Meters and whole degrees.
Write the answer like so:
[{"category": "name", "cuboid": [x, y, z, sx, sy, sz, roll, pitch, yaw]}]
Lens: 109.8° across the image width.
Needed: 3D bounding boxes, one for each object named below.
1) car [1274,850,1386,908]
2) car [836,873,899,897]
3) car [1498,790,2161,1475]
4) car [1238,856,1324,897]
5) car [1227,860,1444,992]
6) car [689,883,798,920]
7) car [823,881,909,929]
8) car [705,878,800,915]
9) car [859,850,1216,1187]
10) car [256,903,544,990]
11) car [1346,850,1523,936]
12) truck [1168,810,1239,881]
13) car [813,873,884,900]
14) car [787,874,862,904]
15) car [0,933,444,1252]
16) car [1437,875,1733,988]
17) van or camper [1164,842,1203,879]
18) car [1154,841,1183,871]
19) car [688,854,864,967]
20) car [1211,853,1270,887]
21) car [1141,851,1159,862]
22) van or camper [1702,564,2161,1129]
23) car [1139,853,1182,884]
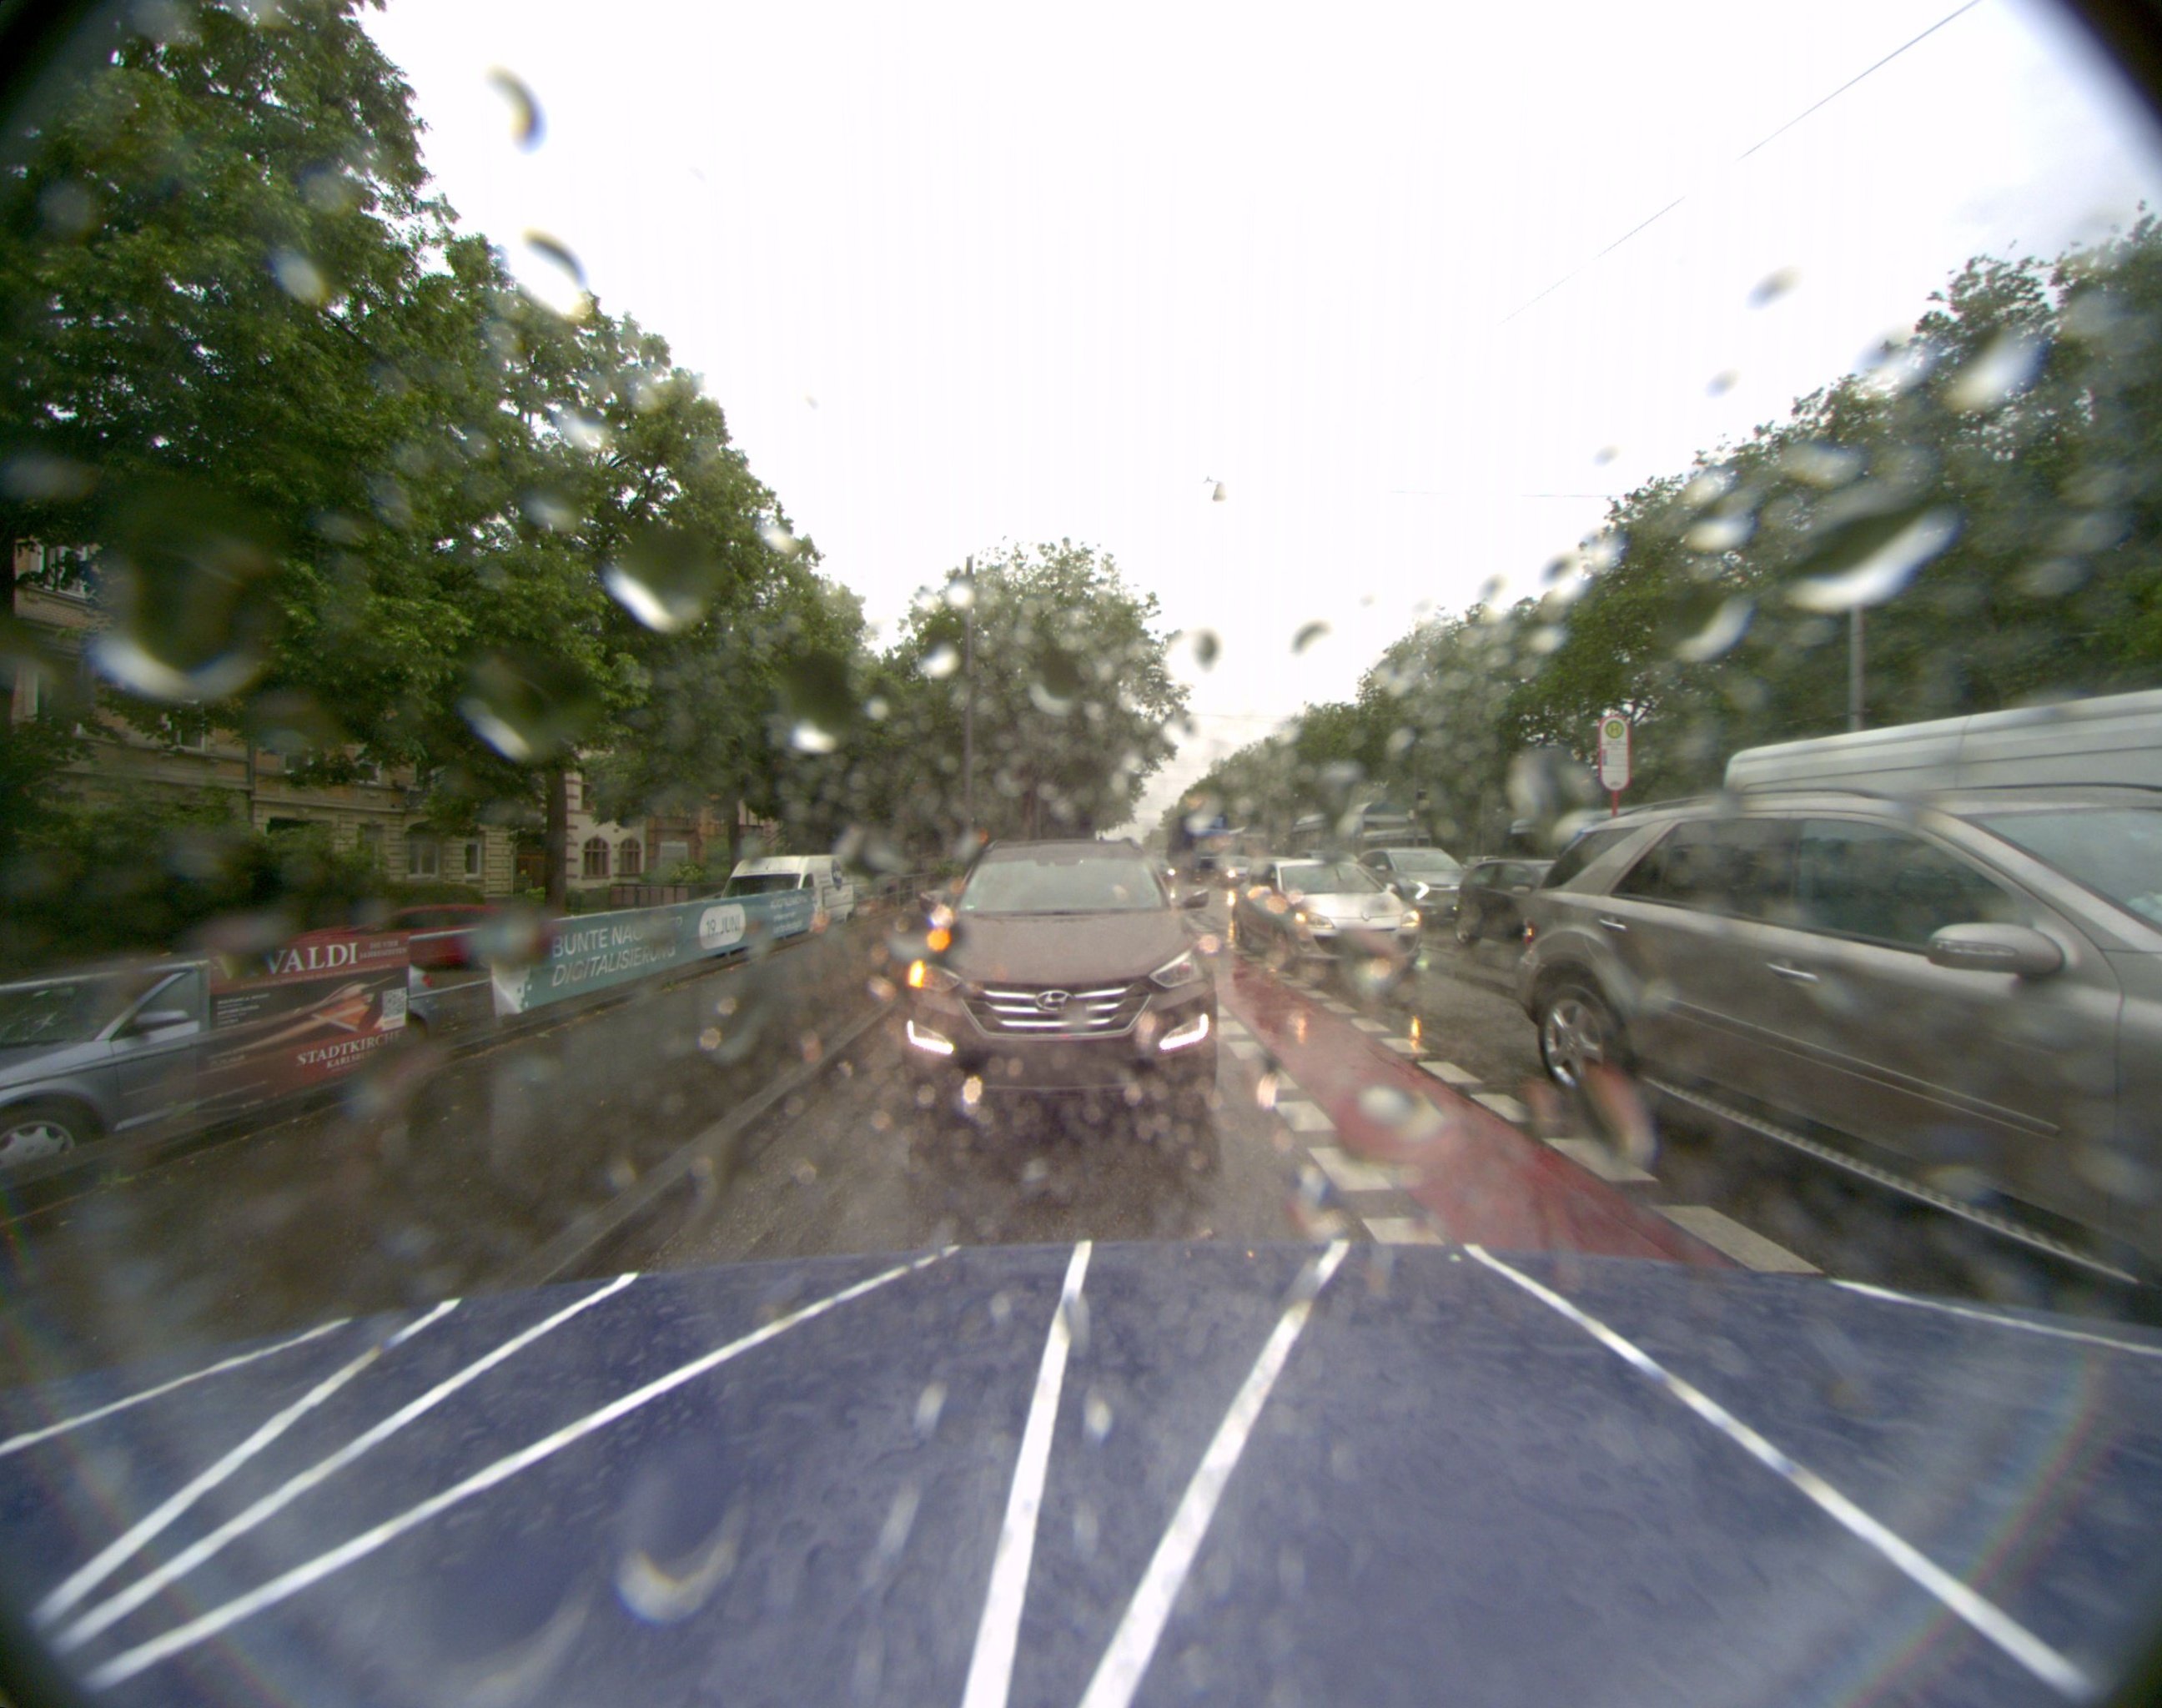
[{"category": "car", "cuboid": [7.566, 0.689, 23.577, 1.999, 1.611, 4.319, -1, 0, -1]}, {"category": "car", "cuboid": [-15.543, 2.239, 55.349, 4.007, 1.455, 1.908, -2, 1, -34]}, {"category": "car", "cuboid": [3.770, 0.685, 2.754, 2.030, 1.760, 4.462, -2, 0, 0]}, {"category": "car", "cuboid": [7.523, 0.791, 29.055, 1.999, 1.386, 4.606, 0, 0, -1]}, {"category": "car", "cuboid": [3.431, 0.881, 11.072, 1.772, 1.469, 4.000, -2, 0, 0]}, {"category": "car", "cuboid": [-14.862, 2.050, 33.493, 4.269, 1.372, 1.687, -1, 1, -27]}, {"category": "car", "cuboid": [-7.584, 1.759, 27.285, 1.972, 1.345, 4.383, -2, 0, -3]}, {"category": "car", "cuboid": [-15.530, 1.985, 35.993, 4.005, 1.496, 1.655, -1, 1, -24]}, {"category": "car", "cuboid": [-0.154, 0.830, 5.664, 1.756, 1.657, 3.678, -2, 0, 2]}, {"category": "car", "cuboid": [-14.627, 1.925, 16.733, 4.439, 1.444, 1.894, 0, -1, -32]}, {"category": "car", "cuboid": [7.479, 0.731, 16.647, 1.919, 1.614, 4.454, 0, 0, 2]}, {"category": "truck", "cuboid": [7.255, -0.483, 46.395, 2.545, 3.866, 9.810, 1, 0, -1]}, {"category": "car", "cuboid": [-15.367, 2.123, 50.311, 4.007, 1.557, 1.995, -2, 1, -34]}, {"category": "car", "cuboid": [-15.725, 2.122, 46.657, 4.006, 1.599, 1.821, -2, 1, -31]}, {"category": "car", "cuboid": [-7.235, 1.590, 5.534, 1.736, 1.530, 4.074, -2, 0, -1]}, {"category": "car", "cuboid": [6.743, 0.948, 10.763, 1.467, 1.111, 4.087, -2, 0, 0]}, {"category": "van or camper", "cuboid": [7.633, 0.438, 57.108, 1.998, 2.555, 6.431, -2, 0, 0]}, {"category": "car", "cuboid": [7.495, 0.163, 65.792, 1.998, 2.412, 5.727, -2, 0, 3]}, {"category": "car", "cuboid": [-7.705, 1.274, 20.089, 2.214, 2.406, 6.157, -2, 0, -2]}, {"category": "car", "cuboid": [7.581, 0.729, 36.497, 1.895, 1.478, 4.077, -1, 0, -1]}, {"category": "car", "cuboid": [7.352, 0.257, 81.244, 1.467, 1.185, 3.615, -2, 0, 0]}, {"category": "van or camper", "cuboid": [7.062, -0.046, 4.339, 2.164, 3.123, 5.850, 0, 0, -1]}, {"category": "car", "cuboid": [4.260, 0.746, 41.344, 1.899, 1.569, 3.999, 0, 0, 0]}]
